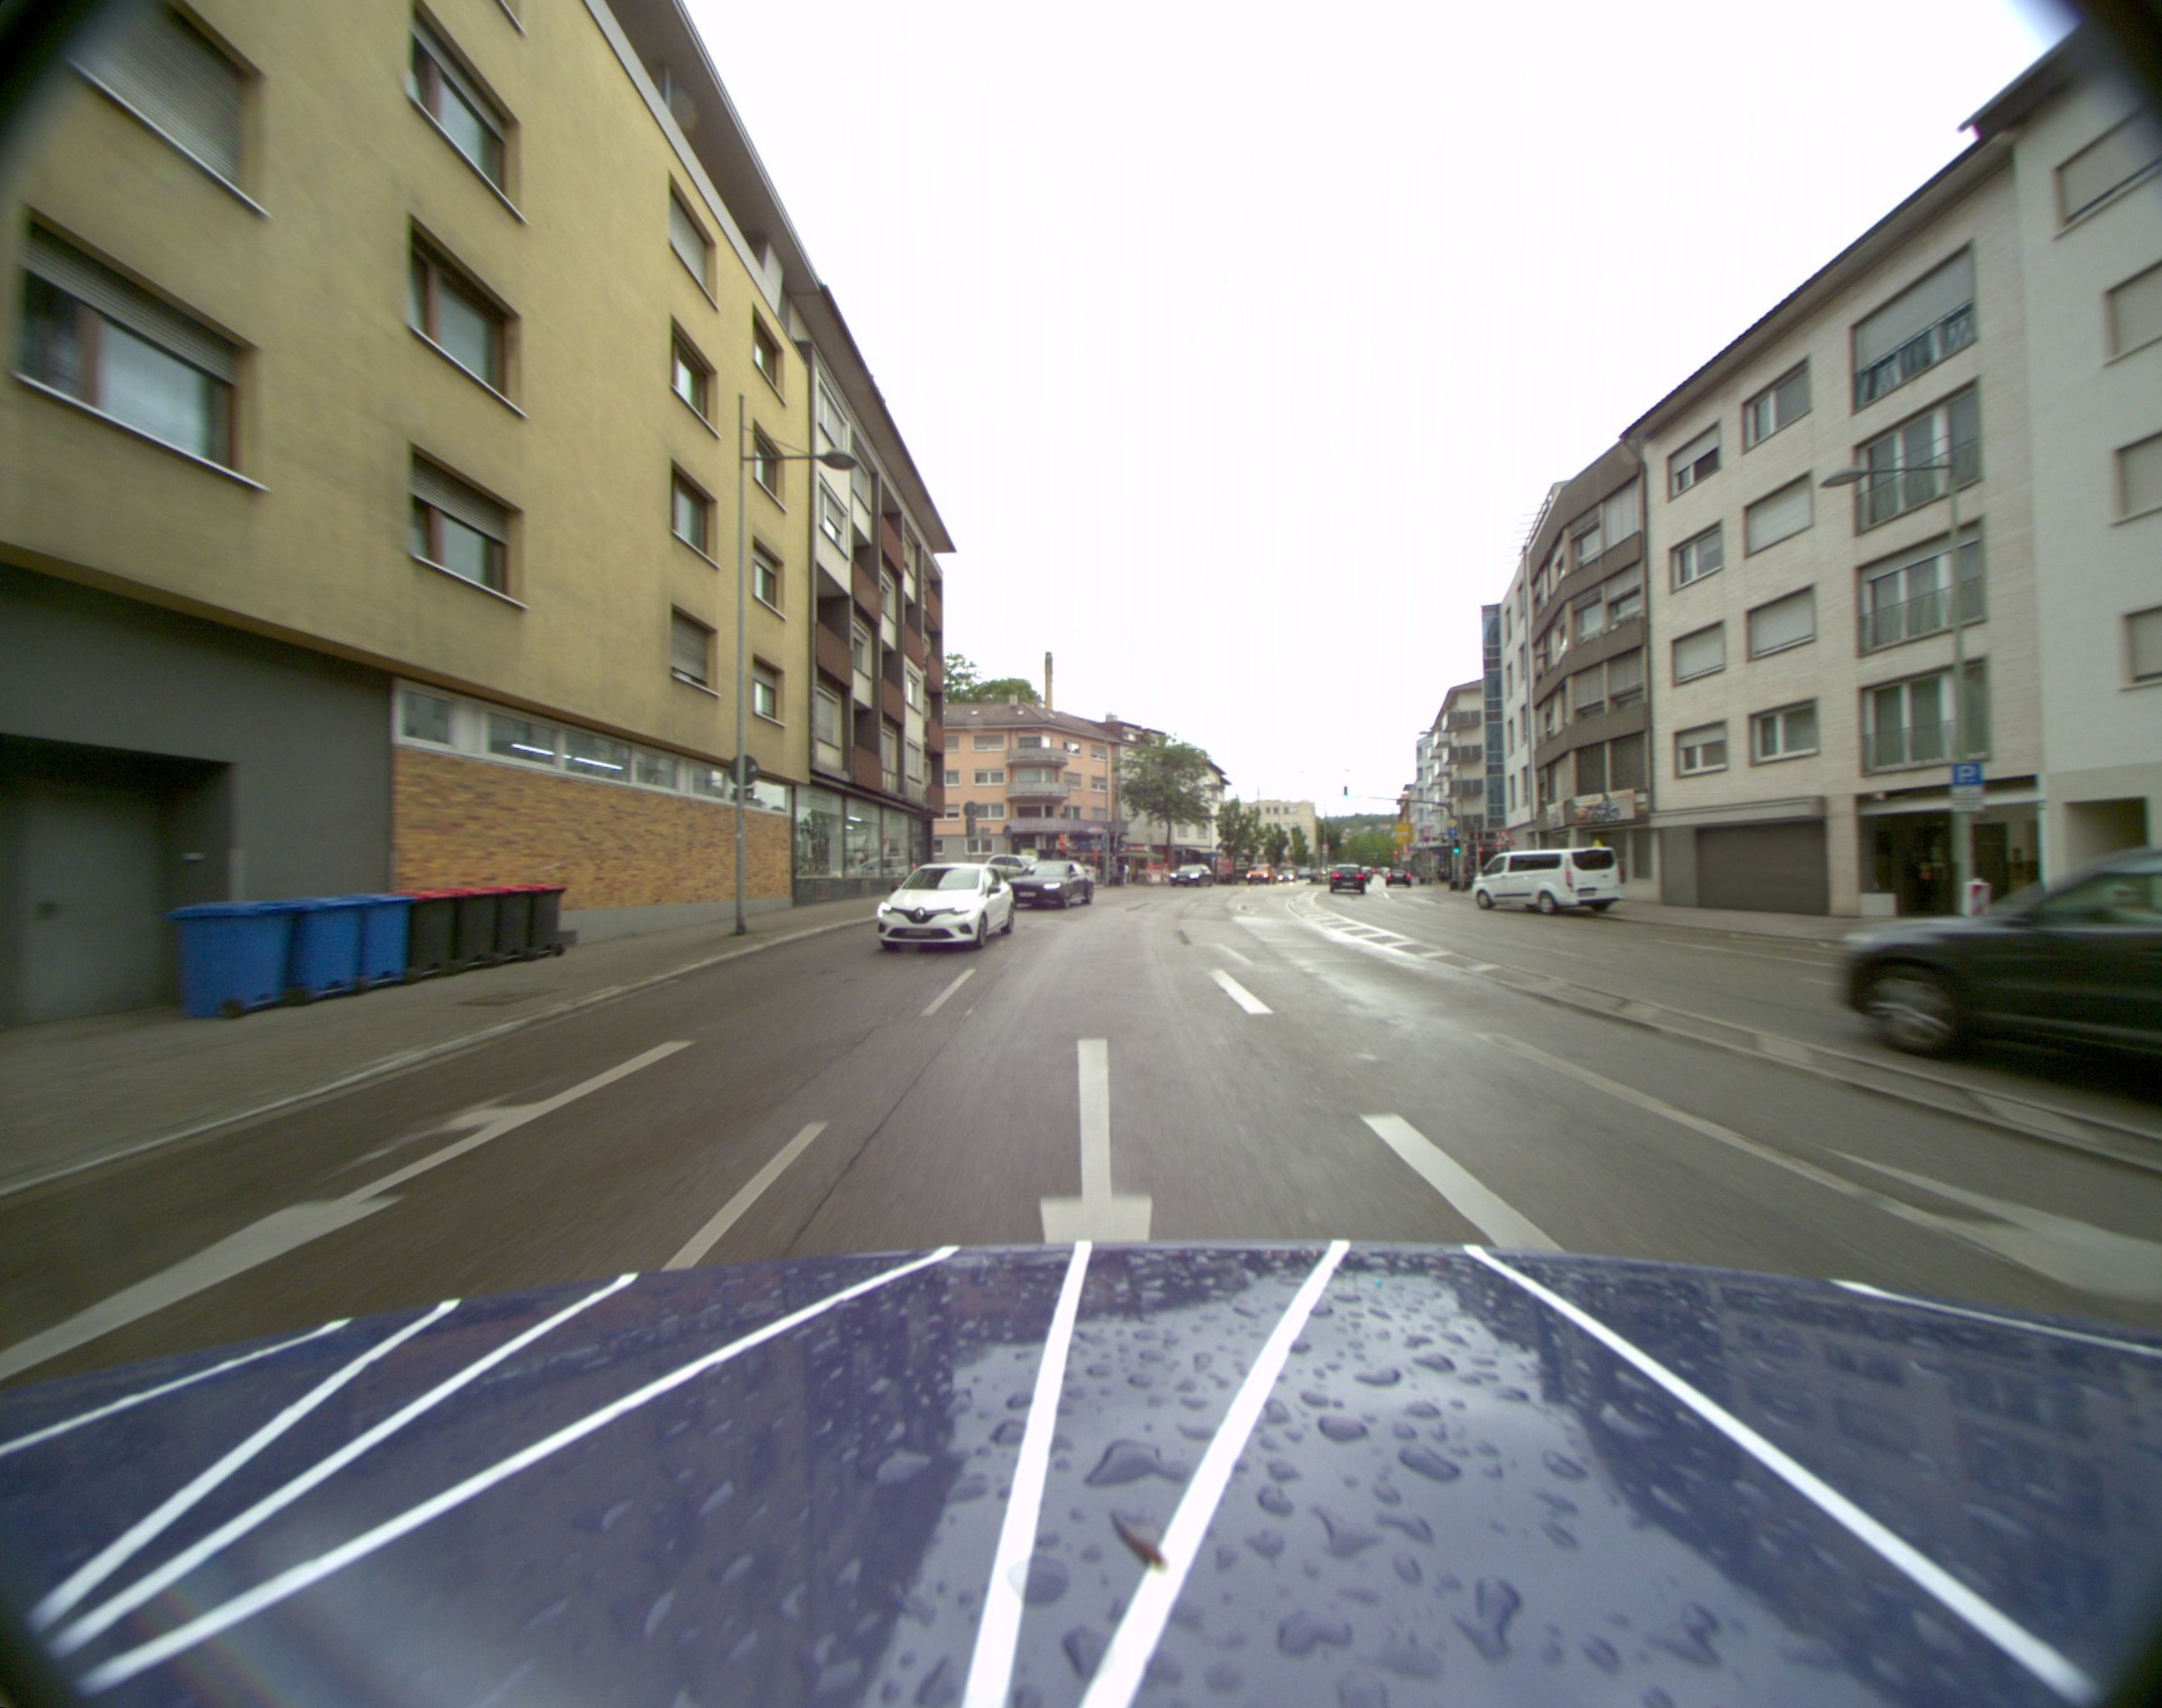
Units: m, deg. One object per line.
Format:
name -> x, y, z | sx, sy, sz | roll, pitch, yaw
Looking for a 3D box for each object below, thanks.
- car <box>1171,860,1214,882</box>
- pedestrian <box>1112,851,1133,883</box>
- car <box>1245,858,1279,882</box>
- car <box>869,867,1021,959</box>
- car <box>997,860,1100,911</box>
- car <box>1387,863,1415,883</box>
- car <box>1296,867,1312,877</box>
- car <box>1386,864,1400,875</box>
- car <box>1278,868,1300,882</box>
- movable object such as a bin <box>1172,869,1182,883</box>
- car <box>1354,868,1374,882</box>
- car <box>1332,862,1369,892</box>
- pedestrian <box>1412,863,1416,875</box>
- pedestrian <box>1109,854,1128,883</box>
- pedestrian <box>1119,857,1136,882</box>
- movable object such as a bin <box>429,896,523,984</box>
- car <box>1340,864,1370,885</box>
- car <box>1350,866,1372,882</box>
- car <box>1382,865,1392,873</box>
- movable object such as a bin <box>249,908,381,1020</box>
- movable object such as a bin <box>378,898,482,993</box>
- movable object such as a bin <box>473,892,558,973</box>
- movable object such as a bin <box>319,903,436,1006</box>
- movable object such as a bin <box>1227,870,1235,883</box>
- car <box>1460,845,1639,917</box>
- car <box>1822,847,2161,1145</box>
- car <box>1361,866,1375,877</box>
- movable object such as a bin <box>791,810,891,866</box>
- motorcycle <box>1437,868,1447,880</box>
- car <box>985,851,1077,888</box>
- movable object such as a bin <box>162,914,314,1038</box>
car -> 7.193, 1.138, 48.724 | 1.809, 1.331, 4.286 | 0, -2, 22
pedestrian -> 2.523, 0.780, 46.161 | 0.920, 1.850, 1.029 | 0, 2, -19
car -> 16.885, 1.434, 70.492 | 2.195, 2.073, 5.943 | -1, -1, 22
car -> -2.320, 0.958, 13.991 | 1.680, 1.395, 4.002 | 0, 0, 6
car -> -0.896, 0.948, 24.831 | 2.037, 1.379, 5.298 | 0, 1, 13
car -> 23.332, 1.411, 55.351 | 1.723, 1.391, 3.602 | -1, -2, 24
car -> 32.010, 2.578, 108.943 | 1.811, 1.334, 4.006 | -3, -1, 22
car -> 46.145, 2.287, 112.321 | 1.773, 1.514, 4.292 | 0, -1, 24
car -> 23.701, 2.335, 86.556 | 1.840, 1.433, 4.007 | -3, -1, 22
movable object such as a bin -> 7.122, 1.603, 56.230 | 0.621, 1.025, 0.532 | 1, -1, 21
car -> 32.723, 2.402, 87.836 | 1.854, 1.465, 4.657 | 0, -1, 23
car -> 13.948, 1.165, 39.459 | 1.685, 1.464, 4.006 | 2, 0, 18
pedestrian -> 47.507, 2.174, 108.304 | 0.512, 1.678, 0.532 | 1, 2, 22
pedestrian -> 2.222, 0.853, 44.939 | 0.822, 1.678, 0.792 | 0, 2, -25
pedestrian -> 3.555, 1.155, 58.034 | 0.659, 1.868, 0.991 | -1, -2, -42
movable object such as a bin -> -7.910, 1.108, 9.963 | 0.682, 1.070, 0.668 | 0, 0, 1
car -> 21.072, 1.541, 58.403 | 1.985, 1.451, 4.493 | 1, 0, 22
car -> 26.150, 1.831, 71.117 | 1.826, 1.358, 4.610 | 1, 0, 19
car -> 63.040, 3.012, 156.632 | 1.773, 1.579, 4.034 | 1, -1, 24
movable object such as a bin -> -7.941, 1.118, 7.908 | 0.682, 1.070, 0.668 | 0, 0, 1
movable object such as a bin -> -7.925, 1.094, 9.275 | 0.682, 1.070, 0.668 | 0, 0, 1
movable object such as a bin -> -7.906, 1.086, 10.650 | 0.682, 1.070, 0.668 | 0, 0, 1
movable object such as a bin -> -7.935, 1.116, 8.594 | 0.682, 1.070, 0.668 | 0, 0, 1
movable object such as a bin -> 13.655, 2.031, 69.175 | 0.578, 1.104, 0.667 | 1, -1, 28
car -> 15.014, 0.803, 24.824 | 2.125, 2.002, 5.125 | -3, 0, -8
car -> 6.883, 0.790, 4.005 | 1.867, 1.637, 4.254 | 1, 0, 2
car -> 39.912, 2.403, 105.664 | 1.831, 1.534, 4.291 | 0, -1, 22
movable object such as a bin -> -18.315, -1.206, 58.268 | 6.531, 3.615, 2.743 | 5, -1, 1
motorcycle -> 35.460, 1.969, 74.596 | 0.669, 1.081, 2.199 | -3, -1, 21
car -> -2.672, 0.764, 39.737 | 4.783, 1.710, 2.005 | 2, 0, 43
movable object such as a bin -> -7.961, 1.127, 7.207 | 0.682, 1.070, 0.668 | 0, 0, 1
